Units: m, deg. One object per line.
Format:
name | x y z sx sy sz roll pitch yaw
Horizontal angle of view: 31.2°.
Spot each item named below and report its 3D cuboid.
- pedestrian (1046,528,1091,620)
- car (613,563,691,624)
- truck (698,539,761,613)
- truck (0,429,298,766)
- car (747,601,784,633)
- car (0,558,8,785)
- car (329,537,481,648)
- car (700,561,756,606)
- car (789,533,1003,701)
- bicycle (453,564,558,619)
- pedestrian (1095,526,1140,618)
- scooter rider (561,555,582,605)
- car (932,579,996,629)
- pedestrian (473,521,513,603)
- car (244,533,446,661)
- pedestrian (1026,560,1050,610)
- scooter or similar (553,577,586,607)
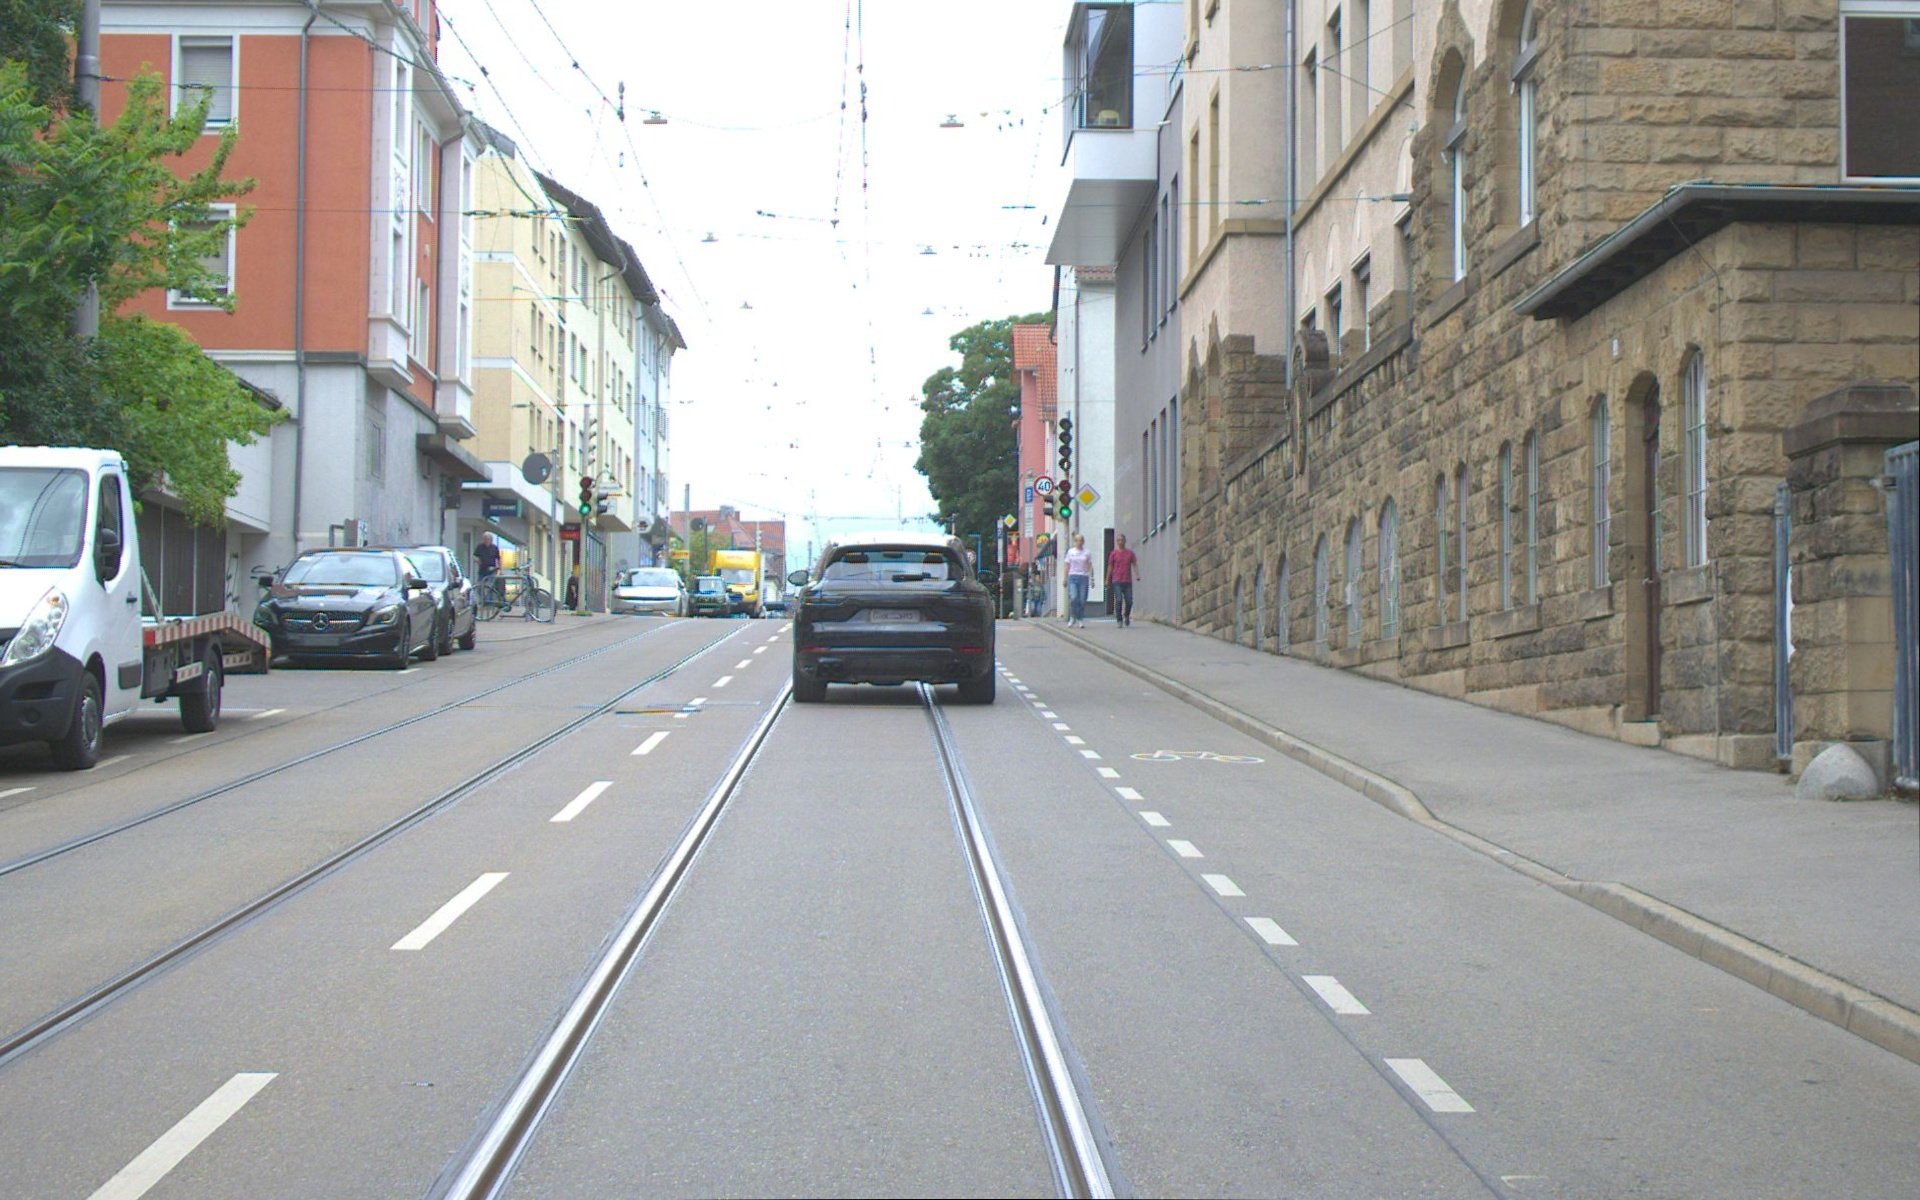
pedestrian | 1.987 -0.480 62.940 0.791 1.661 0.799 1 1 1
car | -8.451 -0.204 94.604 1.855 1.601 4.297 1 1 -2
truck | -9.849 -1.024 147.355 2.302 3.026 9.034 1 0 -2
truck | -6.974 -0.087 26.344 2.280 2.180 8.025 1 1 0
car | -10.295 0.887 182.205 1.855 1.601 4.297 1 1 -2
car | -6.814 0.501 19.606 1.696 1.428 4.482 -1 1 -3
car | -7.525 -0.125 46.892 1.515 1.441 3.710 1 1 -1
car | -8.562 -0.614 127.245 1.855 1.601 4.297 1 1 -2
car | -0.638 0.133 34.520 1.993 1.558 4.290 1 1 -1
bicycle | -8.580 -0.161 64.921 1.911 0.996 0.479 1 1 0
pedestrian | 2.876 -0.509 62.891 0.791 1.661 0.799 1 1 1
scooter rider | -12.394 -0.636 109.660 0.648 1.580 0.766 1 1 -5
car | 0.117 0.112 112.681 1.993 1.558 4.290 1 1 -1
pedestrian | -10.145 -0.833 74.693 0.775 1.770 0.650 1 1 0
car | -7.347 -0.068 41.447 1.712 1.441 4.290 1 1 -1
pedestrian | 2.587 -0.500 113.880 0.791 1.661 0.799 1 1 1
scooter or similar | -12.459 -0.254 109.652 1.027 0.915 0.473 1 1 -5
